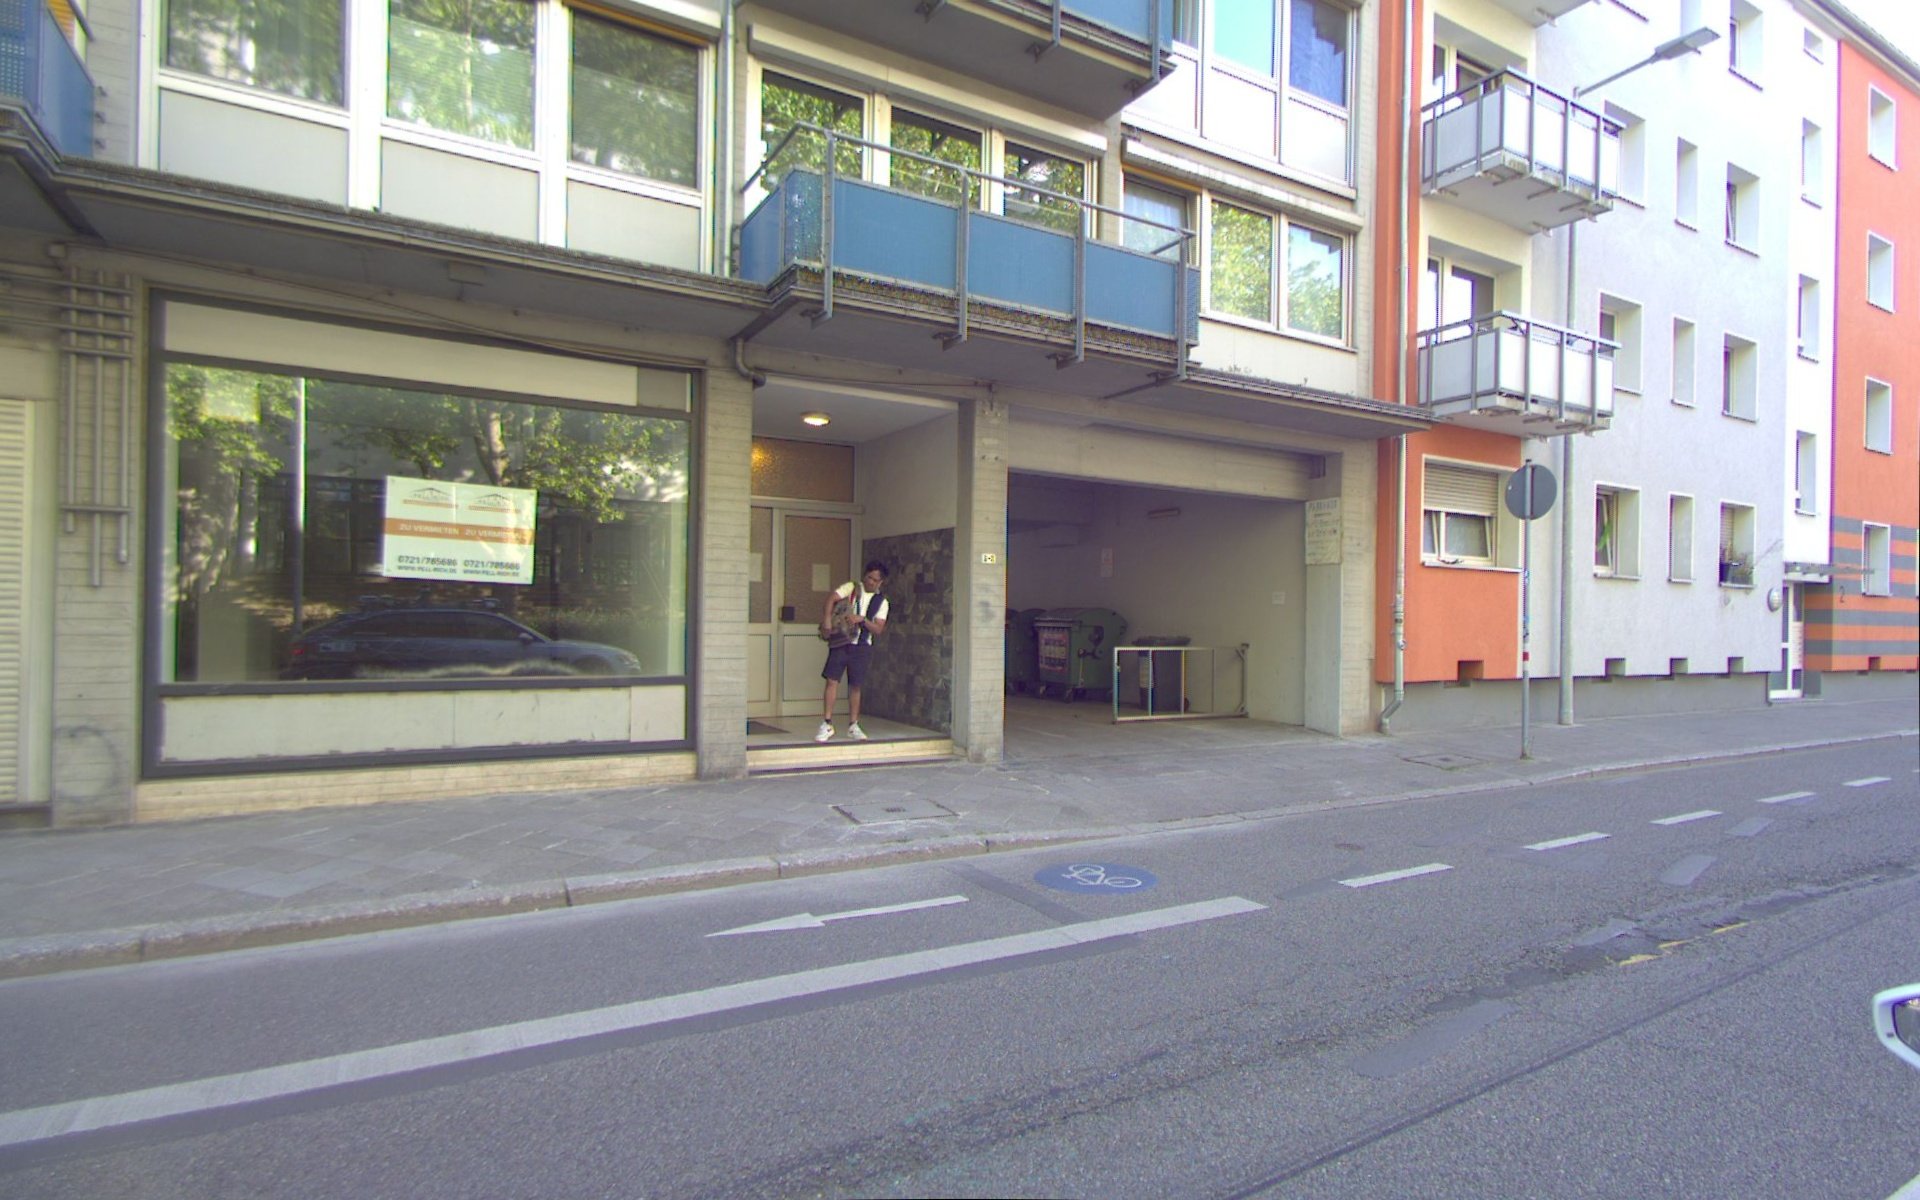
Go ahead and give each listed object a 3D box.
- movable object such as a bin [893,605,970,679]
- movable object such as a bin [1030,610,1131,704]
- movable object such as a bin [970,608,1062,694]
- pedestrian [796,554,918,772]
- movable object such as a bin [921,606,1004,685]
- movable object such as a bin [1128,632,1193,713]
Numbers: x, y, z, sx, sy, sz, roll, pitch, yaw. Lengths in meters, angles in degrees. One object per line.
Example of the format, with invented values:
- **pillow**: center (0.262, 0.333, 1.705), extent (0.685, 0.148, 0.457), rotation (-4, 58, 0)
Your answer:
- **movable object such as a bin**: center (-0.578, 0.818, 19.858), extent (1.066, 1.384, 1.255), rotation (2, 0, -27)
- **movable object such as a bin**: center (1.883, 0.873, 15.805), extent (1.066, 1.384, 1.192), rotation (2, 0, -27)
- **movable object such as a bin**: center (0.941, 0.851, 17.120), extent (1.066, 1.384, 1.255), rotation (2, 0, -27)
- **pedestrian**: center (-0.954, 0.557, 9.248), extent (0.882, 1.902, 0.703), rotation (2, 0, -28)
- **movable object such as a bin**: center (0.030, 0.831, 18.688), extent (1.066, 1.384, 1.255), rotation (2, 0, -27)
- **movable object such as a bin**: center (2.883, 1.032, 14.455), extent (0.650, 1.115, 0.626), rotation (2, 0, -27)
